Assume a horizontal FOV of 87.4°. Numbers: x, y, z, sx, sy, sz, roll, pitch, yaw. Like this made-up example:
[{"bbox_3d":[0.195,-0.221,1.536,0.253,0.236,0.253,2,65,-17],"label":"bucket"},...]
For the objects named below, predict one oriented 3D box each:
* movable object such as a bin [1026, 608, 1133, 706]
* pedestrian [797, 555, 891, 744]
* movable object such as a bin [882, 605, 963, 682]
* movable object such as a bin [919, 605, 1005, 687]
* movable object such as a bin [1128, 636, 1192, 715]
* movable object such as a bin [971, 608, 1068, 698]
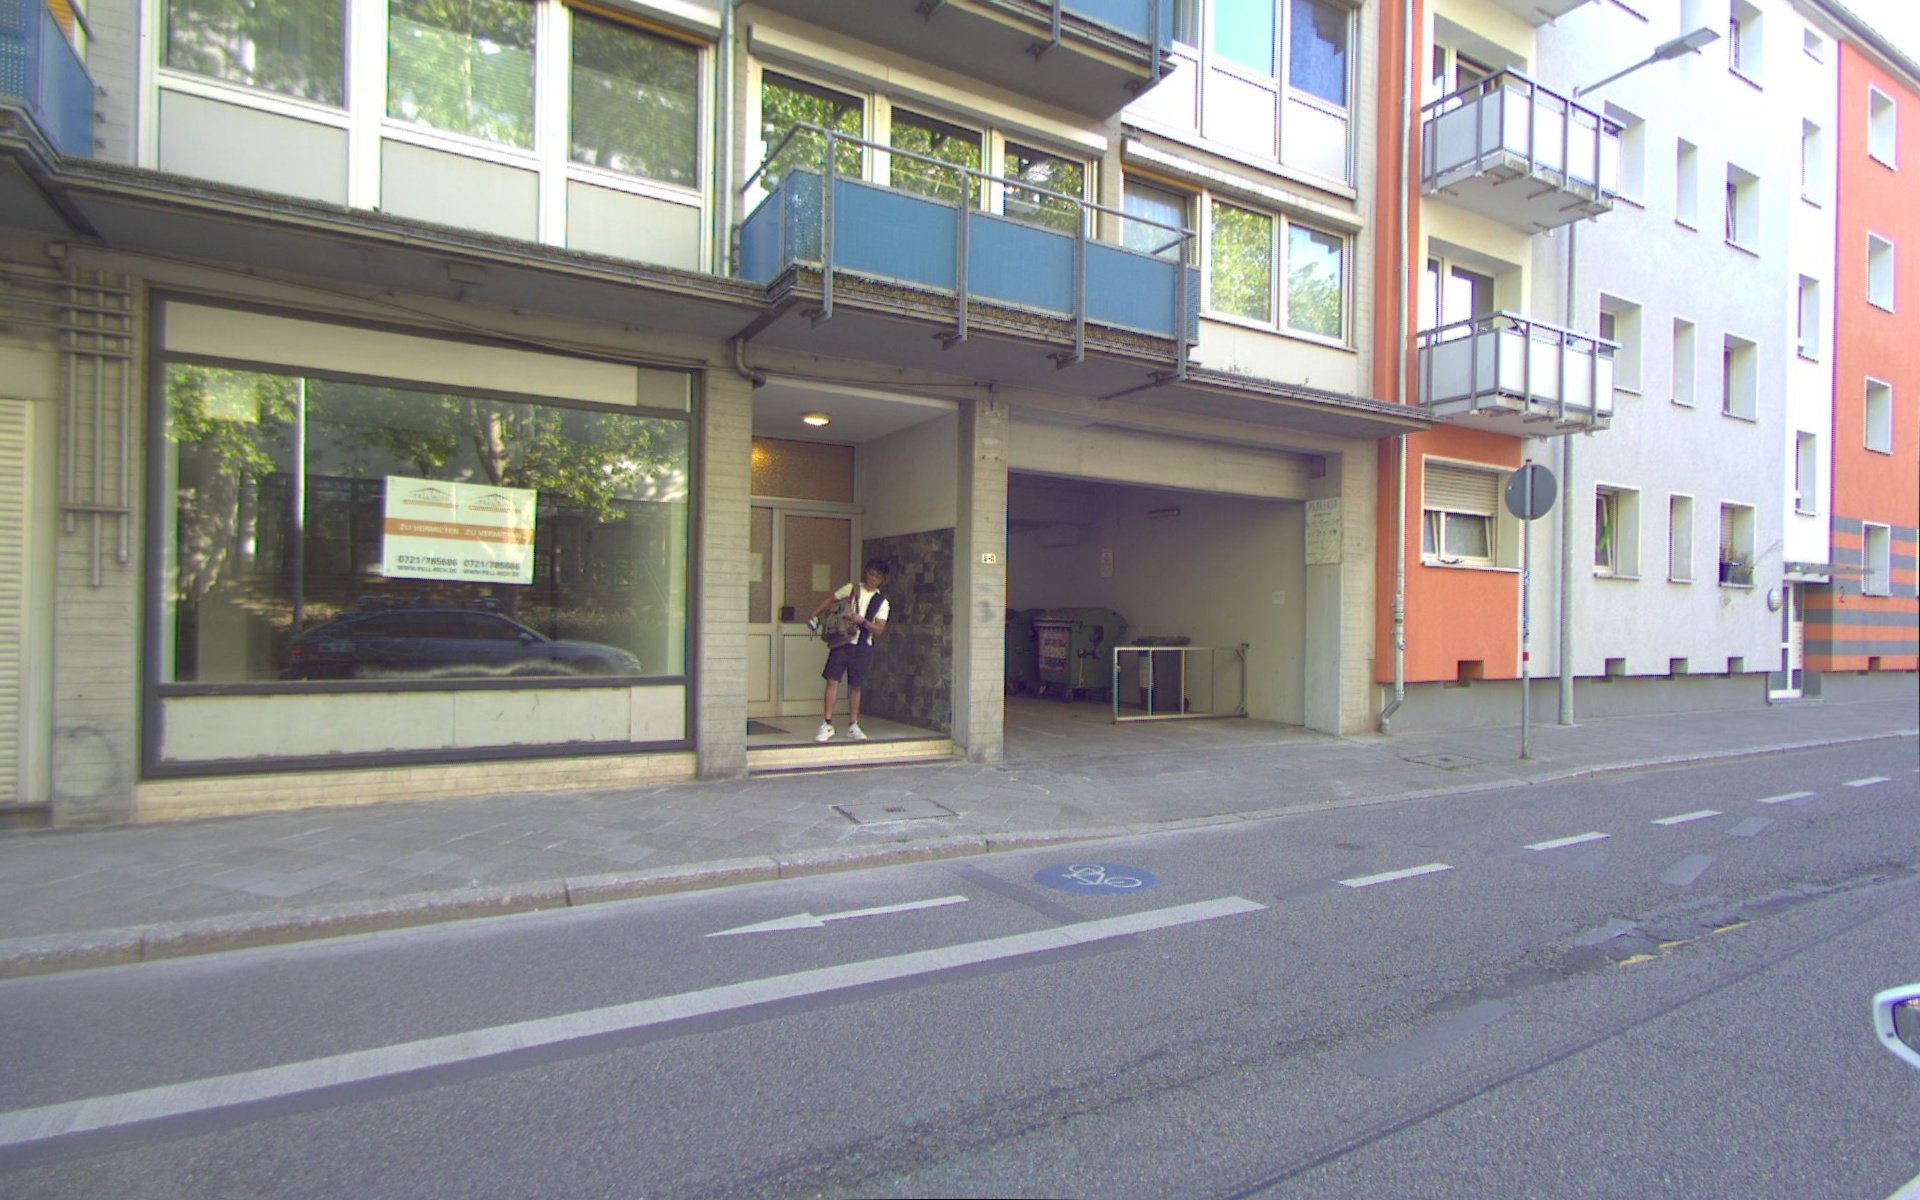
[{"bbox_3d":[1.870,0.874,15.819,1.120,1.444,1.268,2,0,-28],"label":"movable object such as a bin"},{"bbox_3d":[-1.052,0.438,9.252,0.778,1.639,0.836,2,0,-5],"label":"pedestrian"},{"bbox_3d":[-0.747,0.835,19.796,1.120,1.444,1.268,2,0,-28],"label":"movable object such as a bin"},{"bbox_3d":[0.025,0.832,18.705,1.120,1.444,1.268,2,0,-28],"label":"movable object such as a bin"},{"bbox_3d":[2.881,1.074,14.495,0.713,1.094,0.533,2,0,-29],"label":"movable object such as a bin"},{"bbox_3d":[1.002,0.880,17.161,1.120,1.444,1.268,2,0,-28],"label":"movable object such as a bin"}]
